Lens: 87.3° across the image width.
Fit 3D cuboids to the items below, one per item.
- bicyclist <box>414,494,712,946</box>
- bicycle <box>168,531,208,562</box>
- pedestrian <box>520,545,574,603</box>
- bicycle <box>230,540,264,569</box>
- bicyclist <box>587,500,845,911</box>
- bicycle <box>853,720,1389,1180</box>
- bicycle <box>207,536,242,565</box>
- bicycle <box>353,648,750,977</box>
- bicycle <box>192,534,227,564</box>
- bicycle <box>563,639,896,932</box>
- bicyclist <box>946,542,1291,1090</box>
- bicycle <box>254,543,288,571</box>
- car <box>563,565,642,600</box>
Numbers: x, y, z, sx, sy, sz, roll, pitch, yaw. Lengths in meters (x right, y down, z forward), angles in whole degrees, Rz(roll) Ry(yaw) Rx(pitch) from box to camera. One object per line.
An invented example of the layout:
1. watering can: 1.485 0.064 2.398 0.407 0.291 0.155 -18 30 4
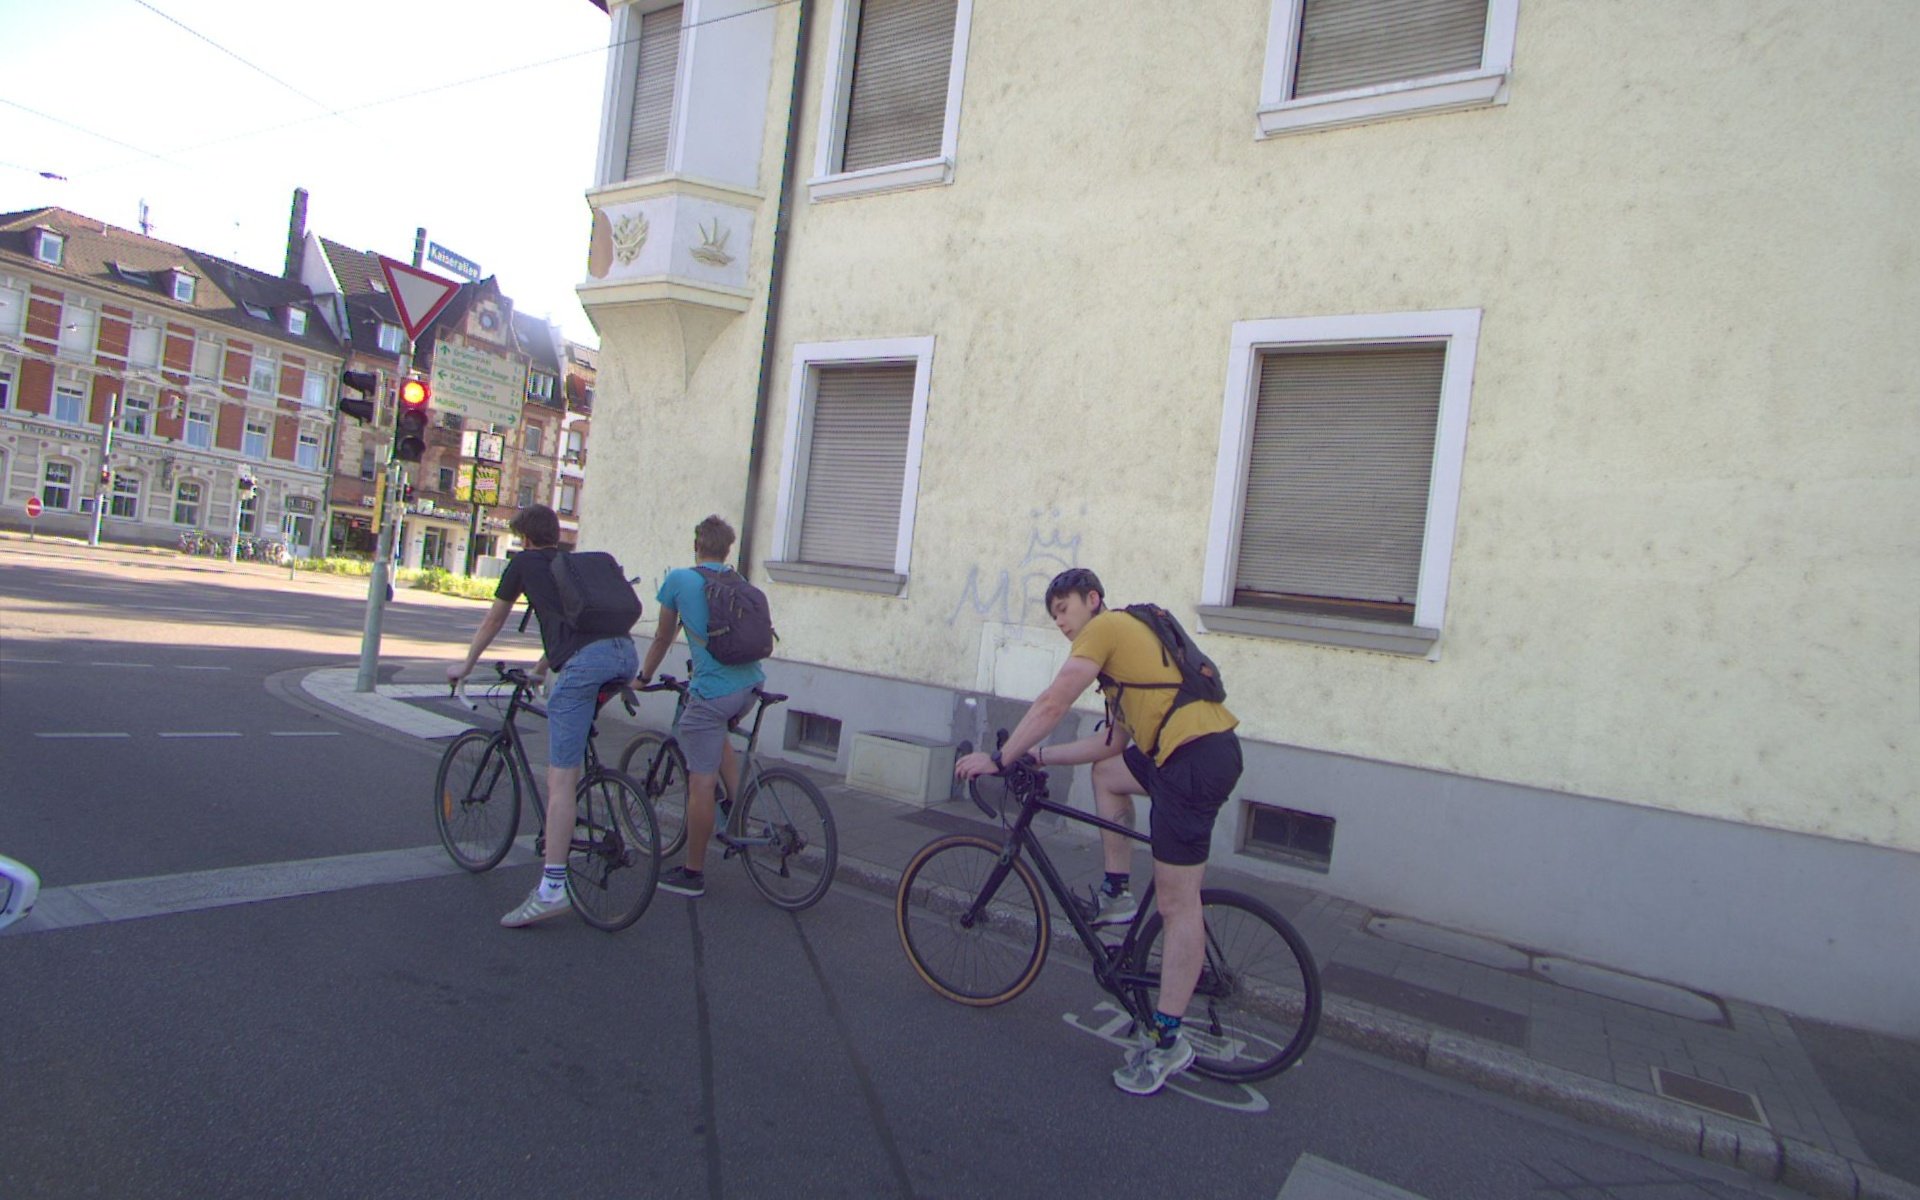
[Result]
1. bicyclist: -1.807 0.472 4.550 1.083 1.775 0.562 7 0 34
2. bicycle: -35.059 -2.441 45.686 2.140 1.157 0.806 7 0 37
3. pedestrian: -16.565 -1.035 40.383 1.285 2.068 1.321 7 0 31
4. bicycle: -33.677 -2.156 47.517 2.140 1.157 0.618 7 0 37
5. bicyclist: -1.274 0.499 5.251 0.961 1.917 0.602 6 -1 34
6. bicycle: 0.547 1.146 3.771 1.780 1.101 0.611 7 0 32
7. bicycle: -34.210 -2.303 46.765 2.140 1.157 0.618 7 0 37
8. bicycle: -1.919 0.854 4.596 1.897 1.023 0.645 7 0 34
9. bicycle: -34.545 -2.351 46.288 2.140 1.157 0.618 7 0 37
10. bicycle: -1.258 0.885 5.286 1.784 1.130 0.519 7 0 34
11. bicyclist: 0.595 0.717 3.783 0.939 1.742 0.582 7 0 32
12. bicycle: -33.112 -2.063 48.321 2.102 1.150 0.609 7 0 37
13. car: -23.168 -1.117 65.326 2.116 1.660 4.340 7 -1 31
